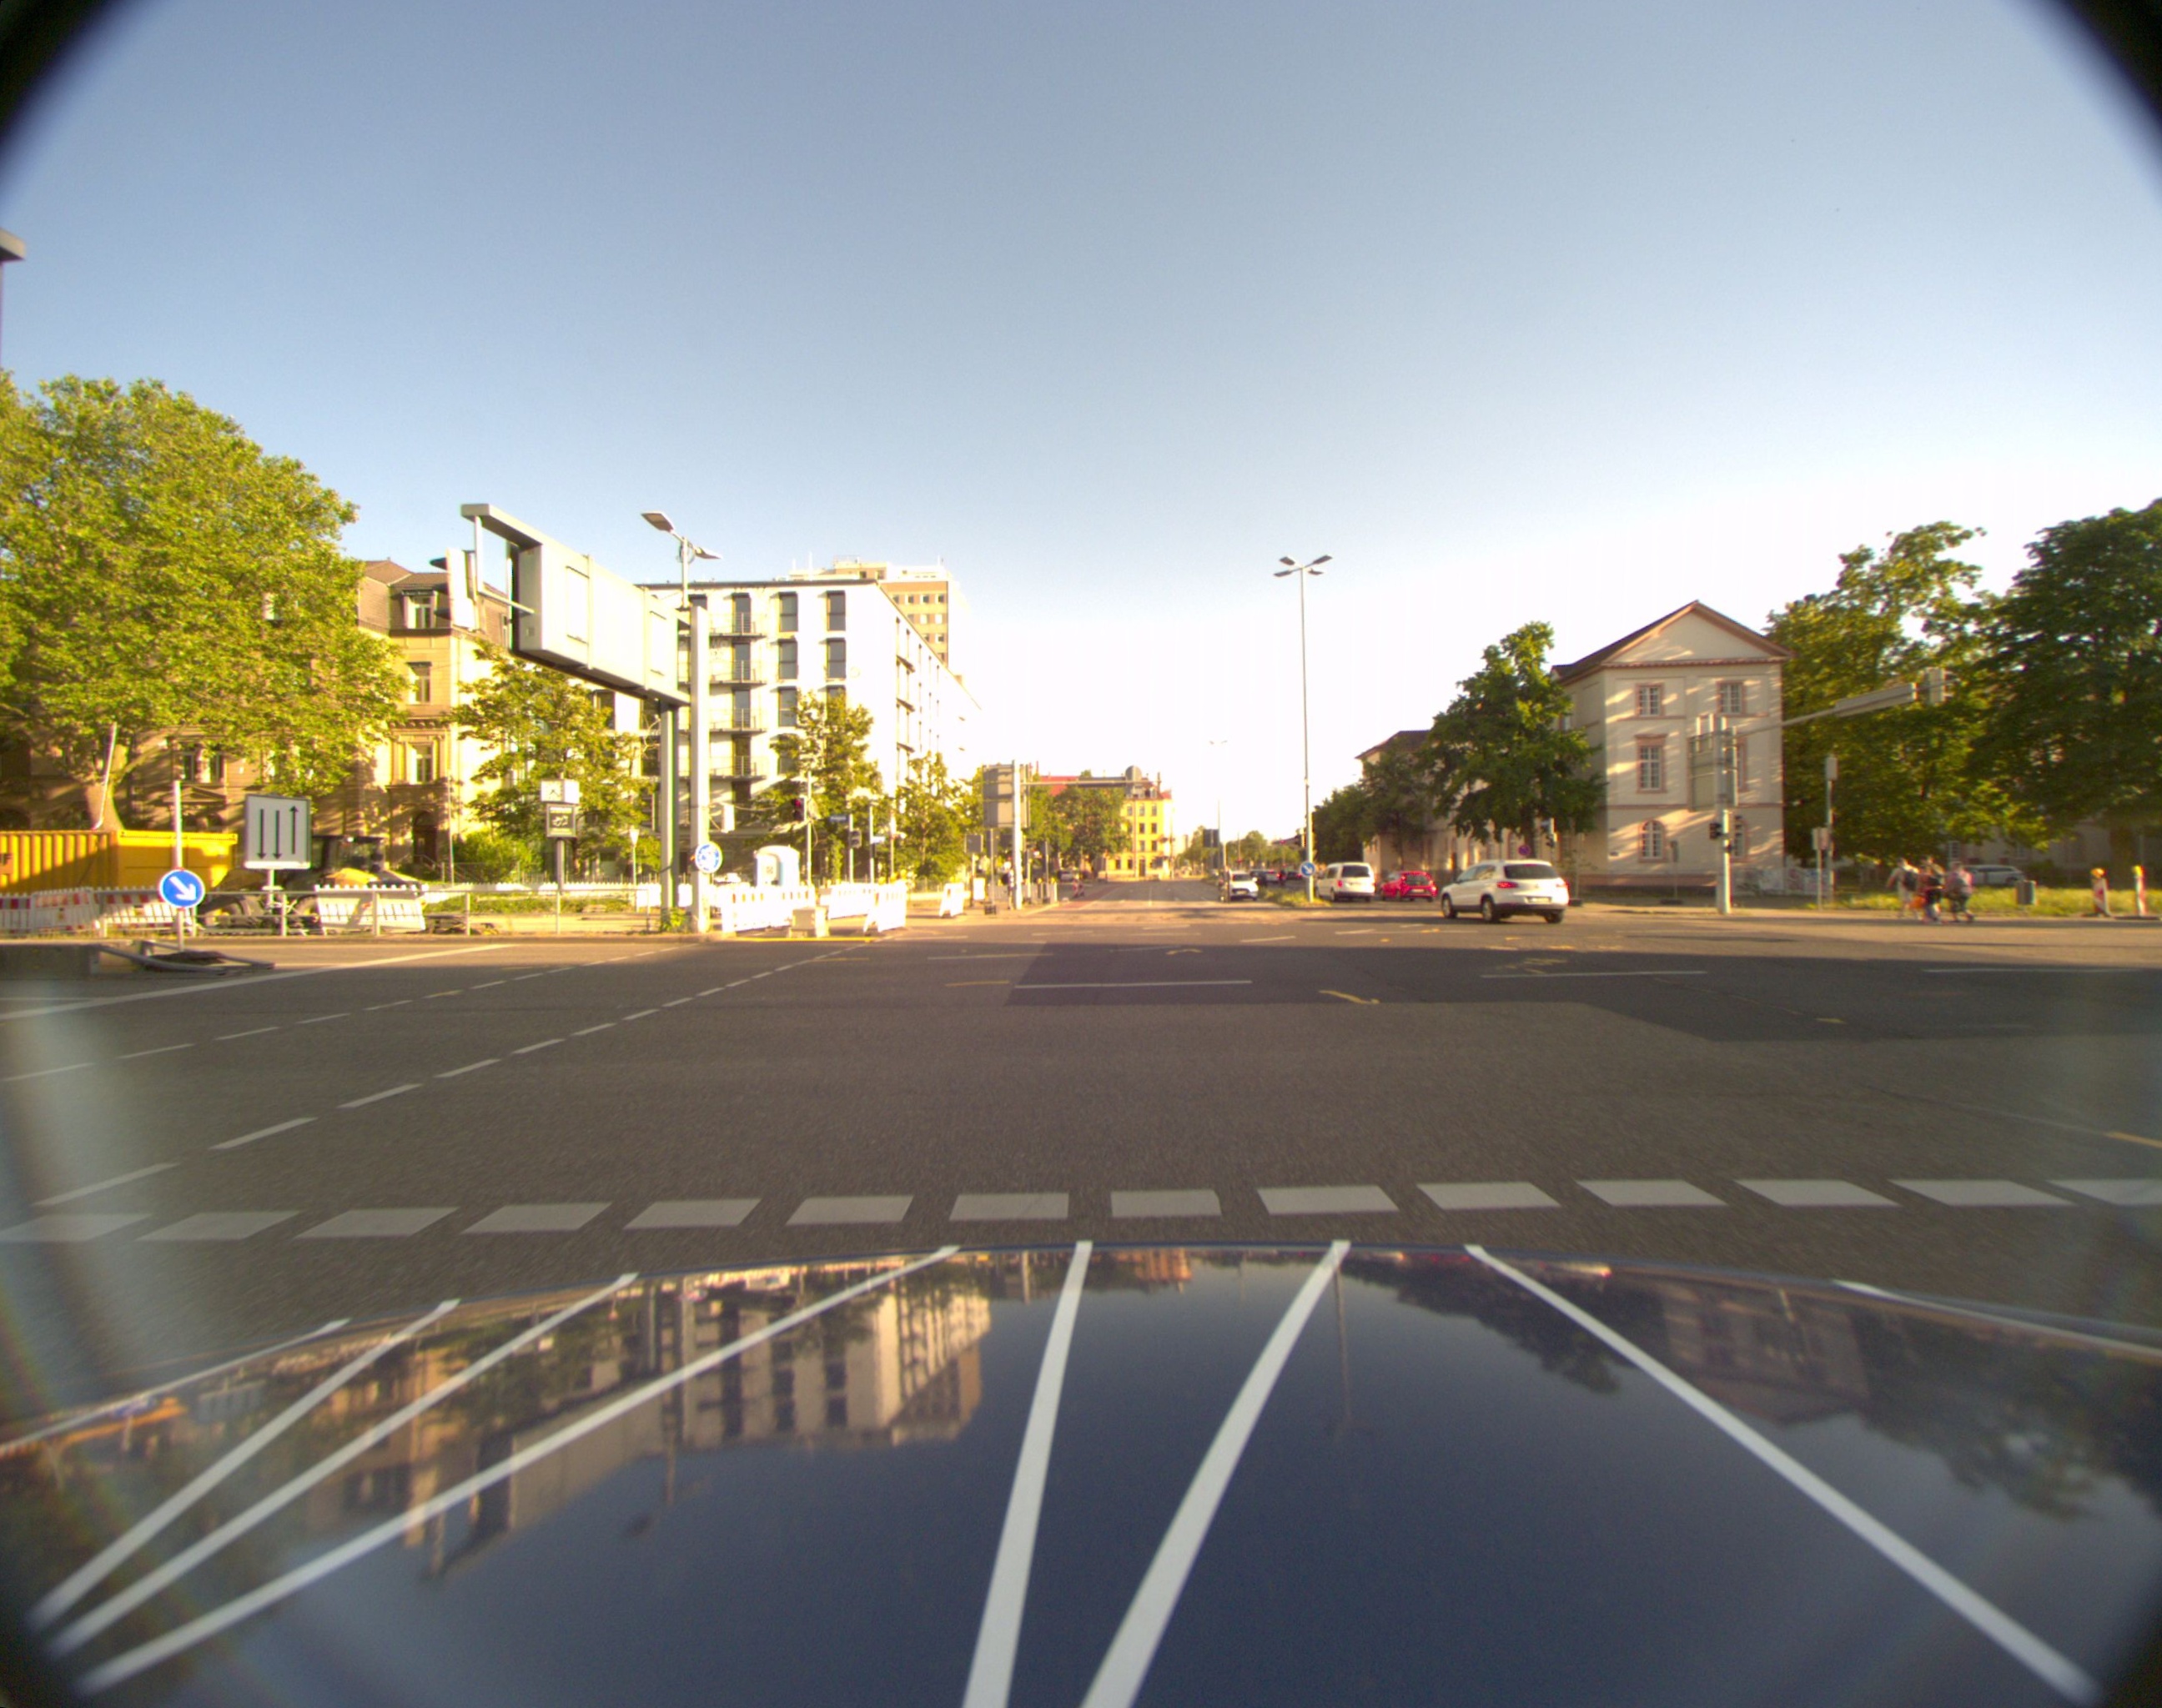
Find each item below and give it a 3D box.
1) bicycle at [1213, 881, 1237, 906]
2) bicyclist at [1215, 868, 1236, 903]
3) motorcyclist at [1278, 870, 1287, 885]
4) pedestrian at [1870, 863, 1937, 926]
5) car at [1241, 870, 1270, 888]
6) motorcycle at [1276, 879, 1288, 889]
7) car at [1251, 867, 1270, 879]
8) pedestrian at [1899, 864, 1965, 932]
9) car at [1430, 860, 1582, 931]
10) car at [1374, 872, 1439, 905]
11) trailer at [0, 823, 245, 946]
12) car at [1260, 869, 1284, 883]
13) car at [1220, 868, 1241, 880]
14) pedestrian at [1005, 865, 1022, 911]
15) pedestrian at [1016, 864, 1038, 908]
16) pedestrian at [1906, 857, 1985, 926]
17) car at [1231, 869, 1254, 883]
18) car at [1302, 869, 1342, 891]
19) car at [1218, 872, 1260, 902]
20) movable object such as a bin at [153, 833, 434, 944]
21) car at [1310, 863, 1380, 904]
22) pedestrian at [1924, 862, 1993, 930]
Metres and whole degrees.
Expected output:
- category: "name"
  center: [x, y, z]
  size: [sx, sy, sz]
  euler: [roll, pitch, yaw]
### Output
- category: "bicycle"
  center: [6.668, 1.822, 35.215]
  size: [0.833, 1.101, 2.082]
  euler: [-1, -1, 4]
- category: "bicyclist"
  center: [6.680, 1.452, 35.141]
  size: [0.838, 1.594, 1.024]
  euler: [-1, -1, 4]
- category: "motorcyclist"
  center: [18.385, 2.159, 69.434]
  size: [0.620, 1.398, 0.756]
  euler: [-1, -1, 2]
- category: "pedestrian"
  center: [22.990, 1.121, 21.260]
  size: [0.678, 1.698, 1.084]
  euler: [-1, -1, -3]
- category: "car"
  center: [14.879, 2.146, 64.843]
  size: [1.764, 1.453, 4.295]
  euler: [-1, -1, 4]
- category: "motorcycle"
  center: [18.401, 2.729, 69.512]
  size: [0.640, 0.874, 2.162]
  euler: [-1, -1, 2]
- category: "car"
  center: [24.197, 2.522, 102.551]
  size: [1.764, 1.626, 4.295]
  euler: [-1, -1, 4]
- category: "pedestrian"
  center: [21.049, 1.069, 18.808]
  size: [0.621, 1.641, 0.890]
  euler: [-1, -1, -3]
- category: "car"
  center: [11.404, 1.058, 20.796]
  size: [1.832, 1.696, 4.443]
  euler: [-1, -1, 3]
- category: "car"
  center: [15.590, 1.618, 36.606]
  size: [1.711, 1.469, 3.814]
  euler: [-1, -1, 4]
- category: "trailer"
  center: [-25.528, 0.752, 19.136]
  size: [6.125, 2.850, 2.542]
  euler: [-1, -1, 0]
- category: "car"
  center: [20.332, 2.308, 81.135]
  size: [1.764, 1.453, 4.295]
  euler: [-1, -1, 4]
- category: "car"
  center: [18.350, 2.428, 93.508]
  size: [2.047, 1.453, 4.295]
  euler: [-1, -1, 4]
- category: "pedestrian"
  center: [-2.785, 1.402, 31.419]
  size: [0.500, 1.866, 0.601]
  euler: [0, -1, -23]
- category: "pedestrian"
  center: [-2.306, 1.360, 32.565]
  size: [0.576, 1.866, 0.711]
  euler: [-1, -1, 40]
- category: "pedestrian"
  center: [23.958, 1.022, 21.087]
  size: [0.820, 1.837, 1.170]
  euler: [-1, -1, -3]
- category: "car"
  center: [16.840, 2.283, 79.520]
  size: [1.764, 1.453, 4.295]
  euler: [-1, -1, 4]
- category: "car"
  center: [17.004, 1.789, 53.750]
  size: [1.764, 1.453, 4.295]
  euler: [-1, -1, 4]
- category: "car"
  center: [8.173, 1.678, 39.650]
  size: [1.764, 1.489, 3.710]
  euler: [-1, -1, 6]
- category: "movable object such as a bin"
  center: [-19.445, 0.847, 18.892]
  size: [5.209, 2.578, 2.001]
  euler: [-1, -1, 5]
- category: "car"
  center: [12.585, 1.379, 36.518]
  size: [1.832, 1.836, 4.949]
  euler: [-1, -1, 3]
- category: "pedestrian"
  center: [21.858, 1.038, 18.949]
  size: [0.678, 1.641, 0.883]
  euler: [-1, -1, -3]
